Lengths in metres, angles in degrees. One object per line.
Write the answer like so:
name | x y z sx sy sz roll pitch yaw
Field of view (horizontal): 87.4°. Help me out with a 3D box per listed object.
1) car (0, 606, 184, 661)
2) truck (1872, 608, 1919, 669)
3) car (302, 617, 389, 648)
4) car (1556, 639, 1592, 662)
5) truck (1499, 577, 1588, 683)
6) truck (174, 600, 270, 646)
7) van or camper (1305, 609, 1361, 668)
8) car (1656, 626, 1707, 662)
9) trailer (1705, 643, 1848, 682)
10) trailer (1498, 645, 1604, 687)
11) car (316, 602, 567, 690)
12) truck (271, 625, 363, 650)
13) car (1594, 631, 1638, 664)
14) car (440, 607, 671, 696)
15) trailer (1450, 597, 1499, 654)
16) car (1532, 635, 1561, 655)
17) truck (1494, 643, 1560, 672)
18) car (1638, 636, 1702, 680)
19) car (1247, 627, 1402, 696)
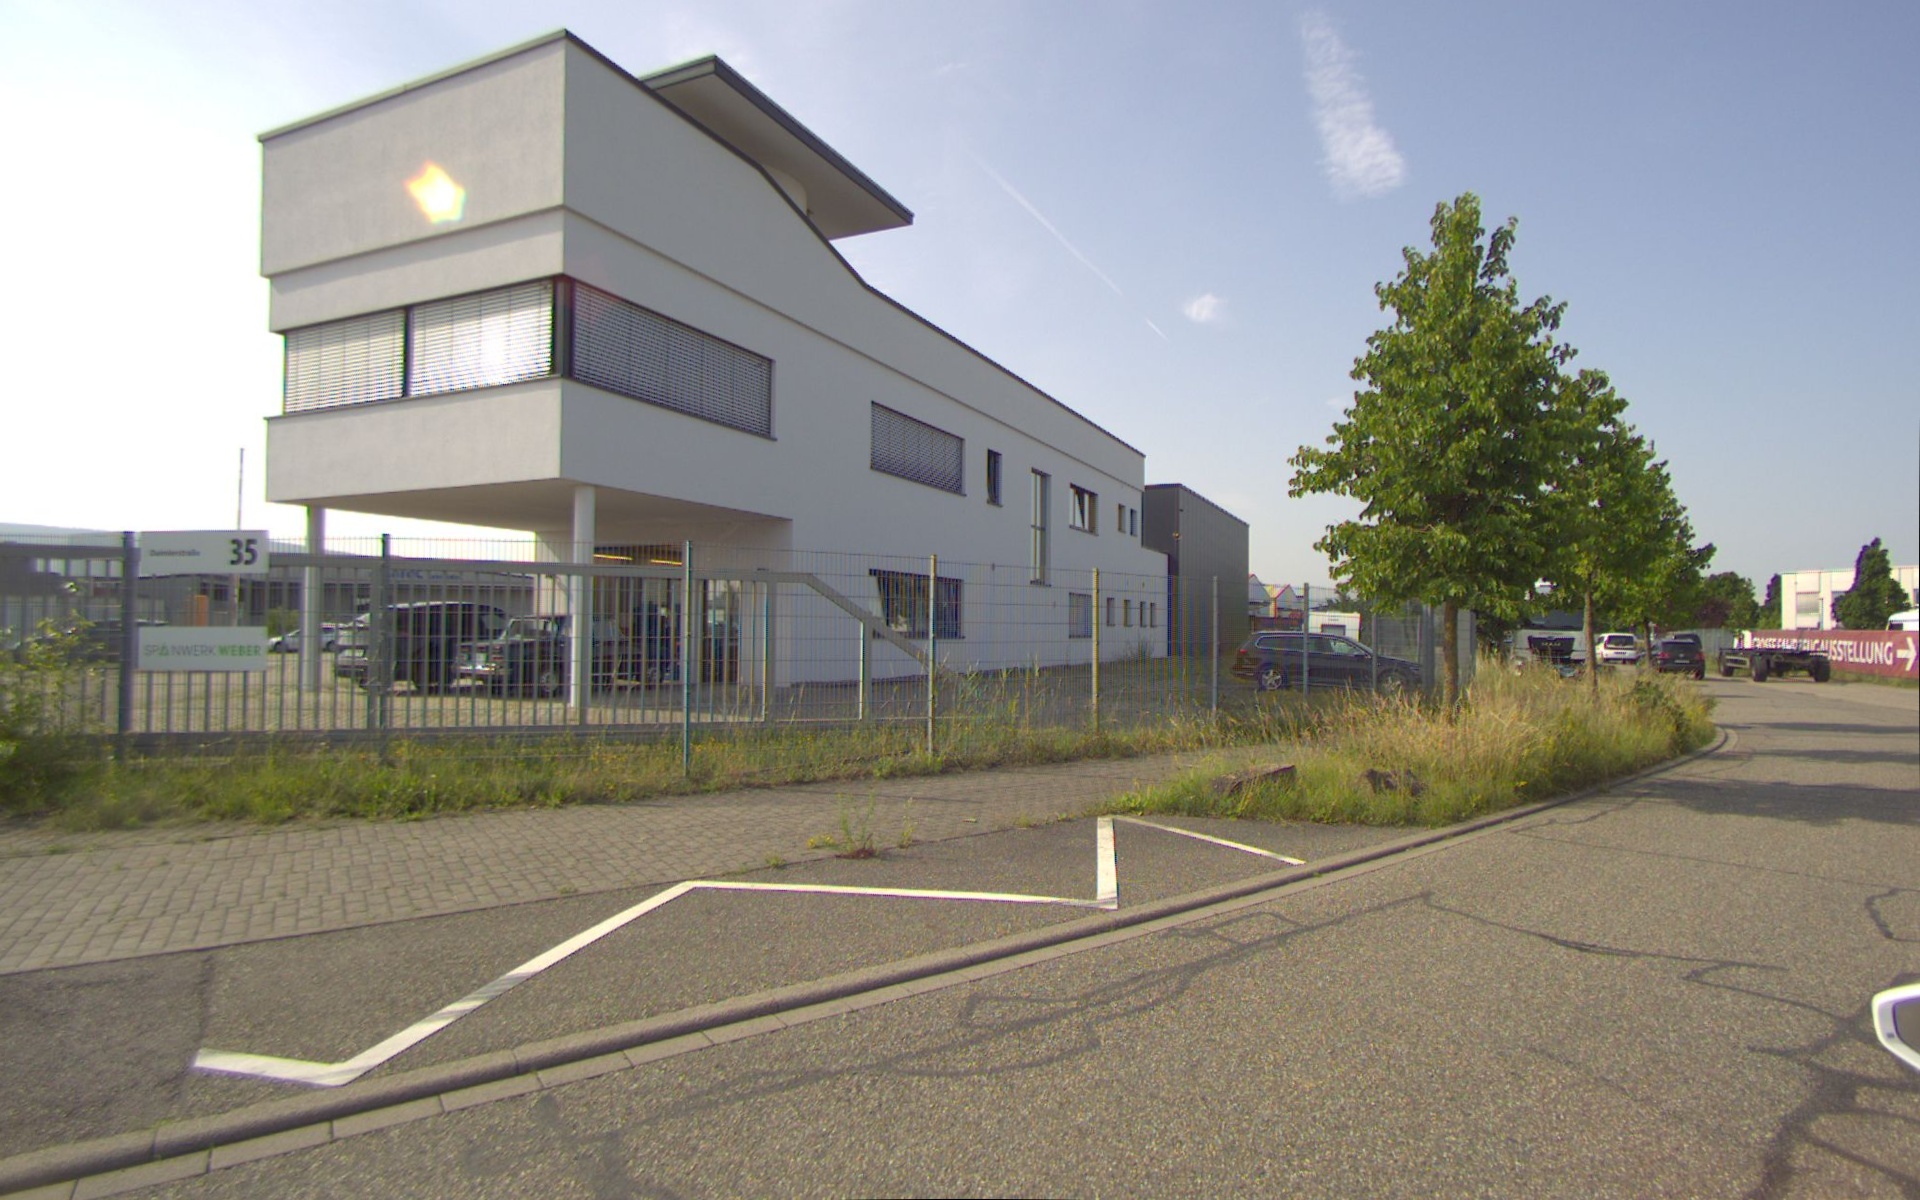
car | -29.180 1.141 33.818 4.391 1.750 1.979 1 -1 -23
truck | 64.532 2.510 64.171 2.422 4.025 9.270 1 -1 -20
car | -36.171 1.905 59.238 3.933 1.792 1.866 1 -1 -15
car | 47.377 3.856 77.570 1.962 1.661 3.997 0 -2 25
truck | 25.441 1.336 44.250 2.586 3.981 12.904 1 -1 27
truck | -42.366 1.347 57.756 3.932 2.547 1.995 1 -1 -14
van or camper | 17.512 1.762 46.995 2.268 2.594 4.952 0 -2 23
car | 42.458 2.574 59.216 1.791 2.004 3.995 -3 -3 27
trailer | 34.826 2.623 43.290 2.583 1.406 9.446 -2 -3 25
trailer | 19.433 2.133 33.305 2.534 1.114 5.197 0 -1 25
car | -9.884 0.850 19.486 1.834 1.507 3.996 0 -2 26
truck | -36.052 2.095 56.427 3.933 1.327 1.866 1 -1 -15
car | 40.551 2.904 62.150 1.964 1.924 4.459 0 -1 29
car | -7.292 0.903 18.519 1.534 1.434 3.917 0 -2 26
trailer | 43.077 2.172 84.428 3.351 4.397 13.906 0 -2 26
car | 54.953 4.231 94.127 1.962 1.795 3.997 0 -2 25
truck | 29.057 2.913 51.692 2.485 1.282 6.521 0 -1 25
car | 31.034 2.534 44.027 1.965 1.828 3.992 -1 -3 31
car | 8.933 1.458 24.623 3.437 1.473 1.596 1 -1 24
